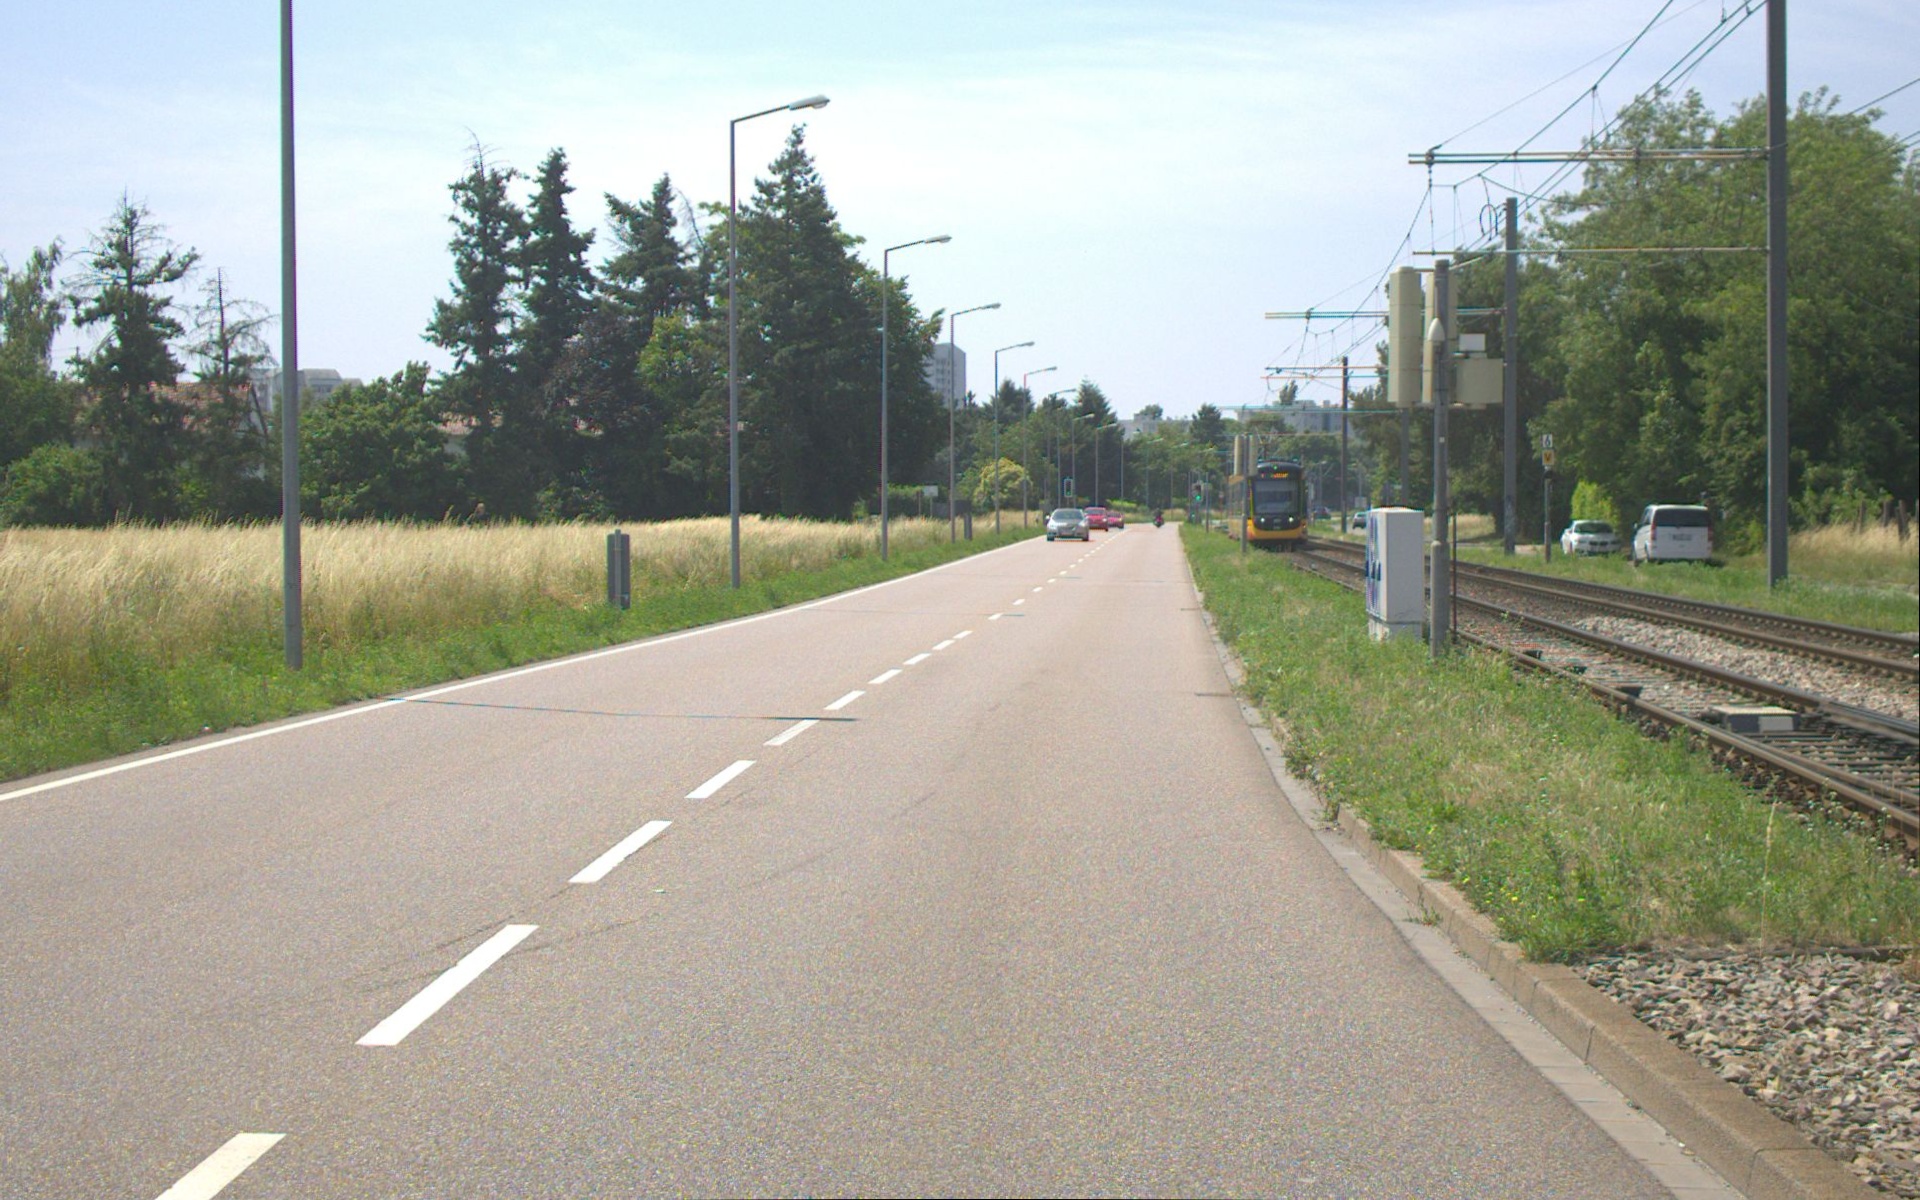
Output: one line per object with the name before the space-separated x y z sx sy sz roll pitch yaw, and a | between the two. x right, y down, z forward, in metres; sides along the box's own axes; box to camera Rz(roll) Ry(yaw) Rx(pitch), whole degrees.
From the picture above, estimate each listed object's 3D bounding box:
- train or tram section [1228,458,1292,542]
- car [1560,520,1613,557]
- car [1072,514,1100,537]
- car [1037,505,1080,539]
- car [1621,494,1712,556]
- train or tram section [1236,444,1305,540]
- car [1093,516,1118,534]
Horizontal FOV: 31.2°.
train or tram section | 13.844 -4.596 159.077 2.701 3.753 6.729 0 1 3
car | 22.212 -2.174 121.970 1.428 1.303 3.465 0 1 3
car | 7.660 -4.527 208.846 1.645 1.395 3.844 0 1 3
car | 4.499 -3.559 156.818 1.834 1.462 4.678 0 0 3
car | 21.079 -2.208 102.684 1.994 1.796 4.794 0 1 3
train or tram section | 12.876 -4.435 143.199 2.429 3.753 11.558 0 1 3
car | 10.874 -5.621 256.644 1.807 1.281 4.286 0 1 3
